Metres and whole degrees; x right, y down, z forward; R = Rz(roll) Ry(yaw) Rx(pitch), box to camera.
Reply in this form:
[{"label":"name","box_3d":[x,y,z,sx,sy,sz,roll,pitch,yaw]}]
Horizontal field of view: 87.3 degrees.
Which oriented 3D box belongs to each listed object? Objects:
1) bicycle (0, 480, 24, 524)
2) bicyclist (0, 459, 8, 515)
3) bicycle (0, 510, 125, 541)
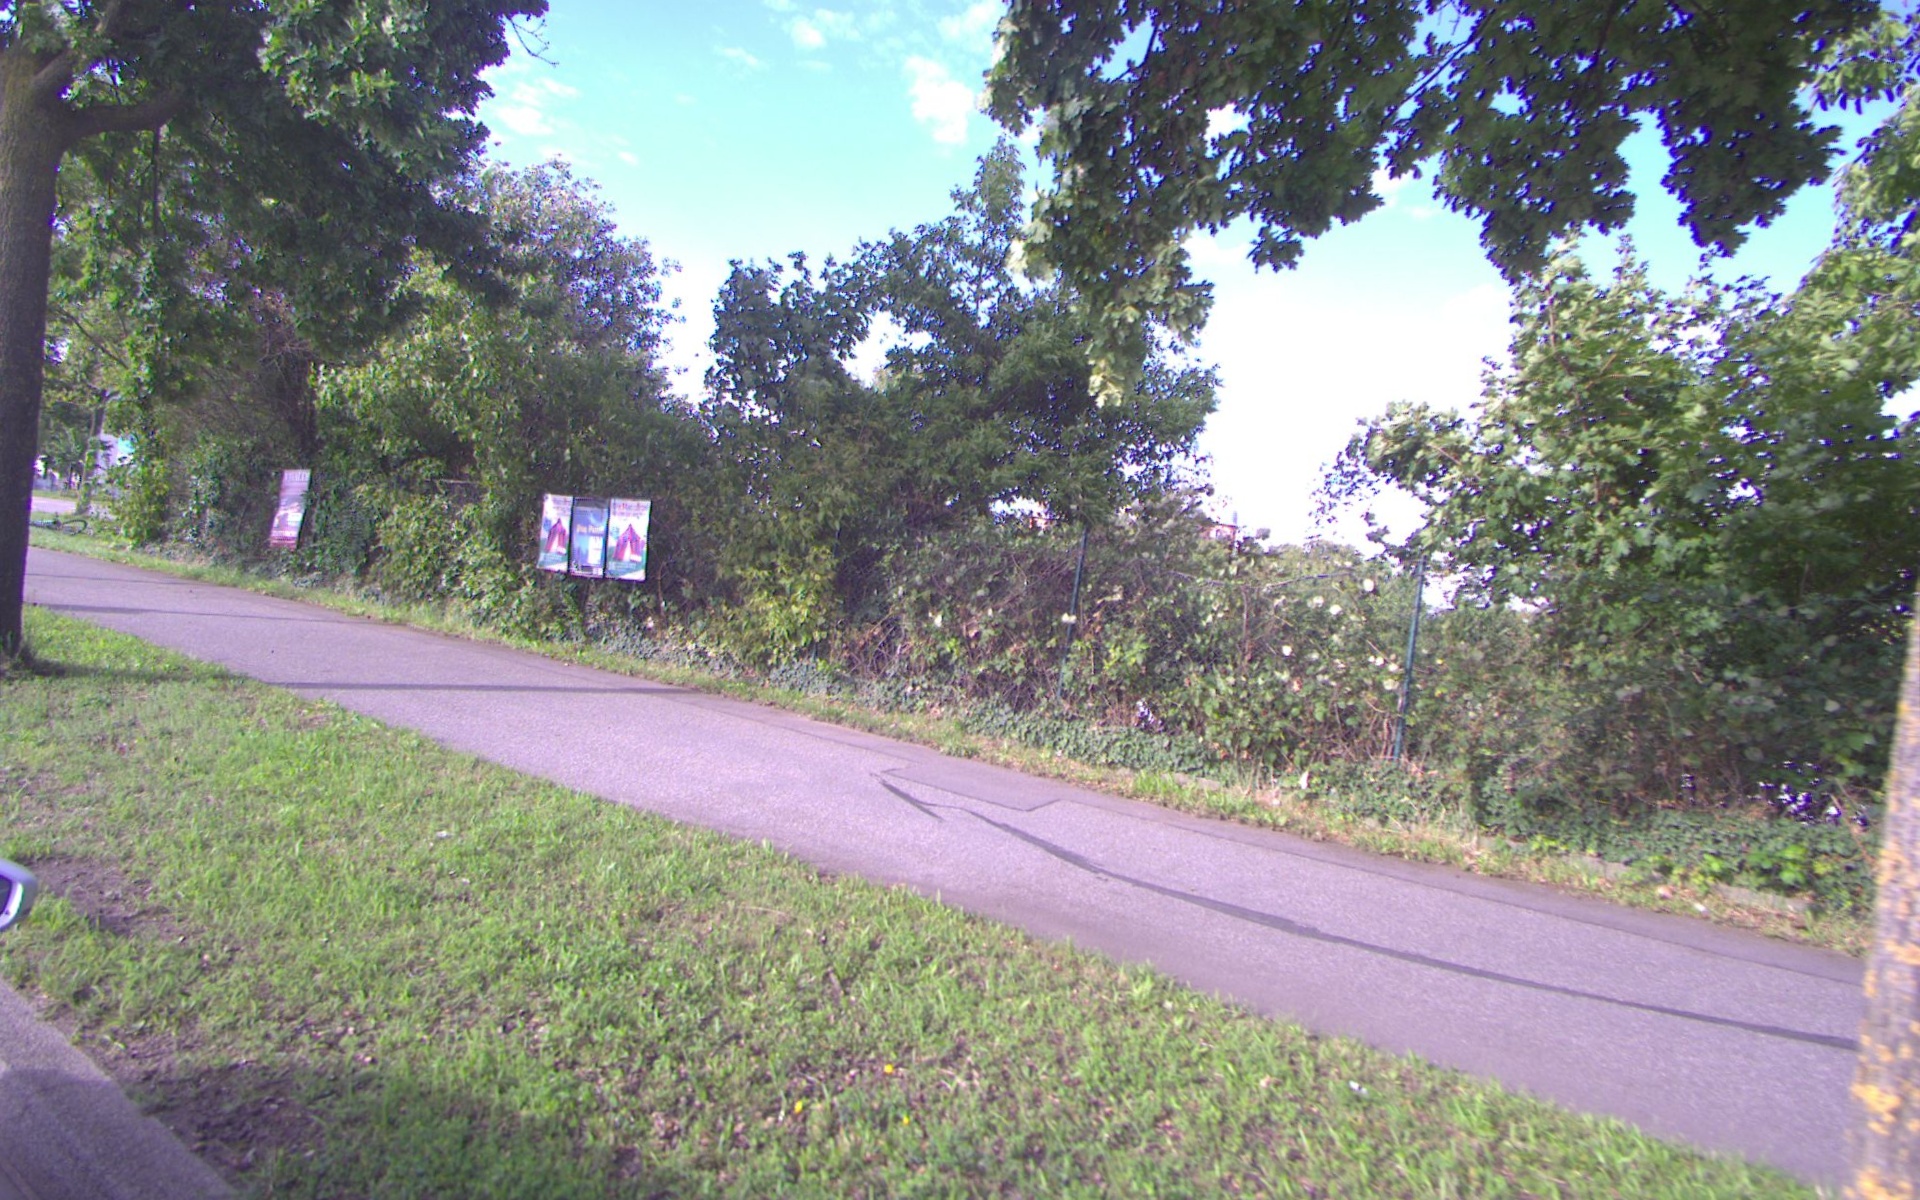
[{"label":"bicycle","box_3d":[-27.391,-2.844,28.051,0.643,1.178,1.731,7,0,16]},{"label":"bicyclist","box_3d":[-27.344,-3.221,28.024,0.727,1.546,0.851,7,1,15]},{"label":"bicycle","box_3d":[-22.113,-1.835,24.698,2.529,0.390,1.411,7,0,21]}]
